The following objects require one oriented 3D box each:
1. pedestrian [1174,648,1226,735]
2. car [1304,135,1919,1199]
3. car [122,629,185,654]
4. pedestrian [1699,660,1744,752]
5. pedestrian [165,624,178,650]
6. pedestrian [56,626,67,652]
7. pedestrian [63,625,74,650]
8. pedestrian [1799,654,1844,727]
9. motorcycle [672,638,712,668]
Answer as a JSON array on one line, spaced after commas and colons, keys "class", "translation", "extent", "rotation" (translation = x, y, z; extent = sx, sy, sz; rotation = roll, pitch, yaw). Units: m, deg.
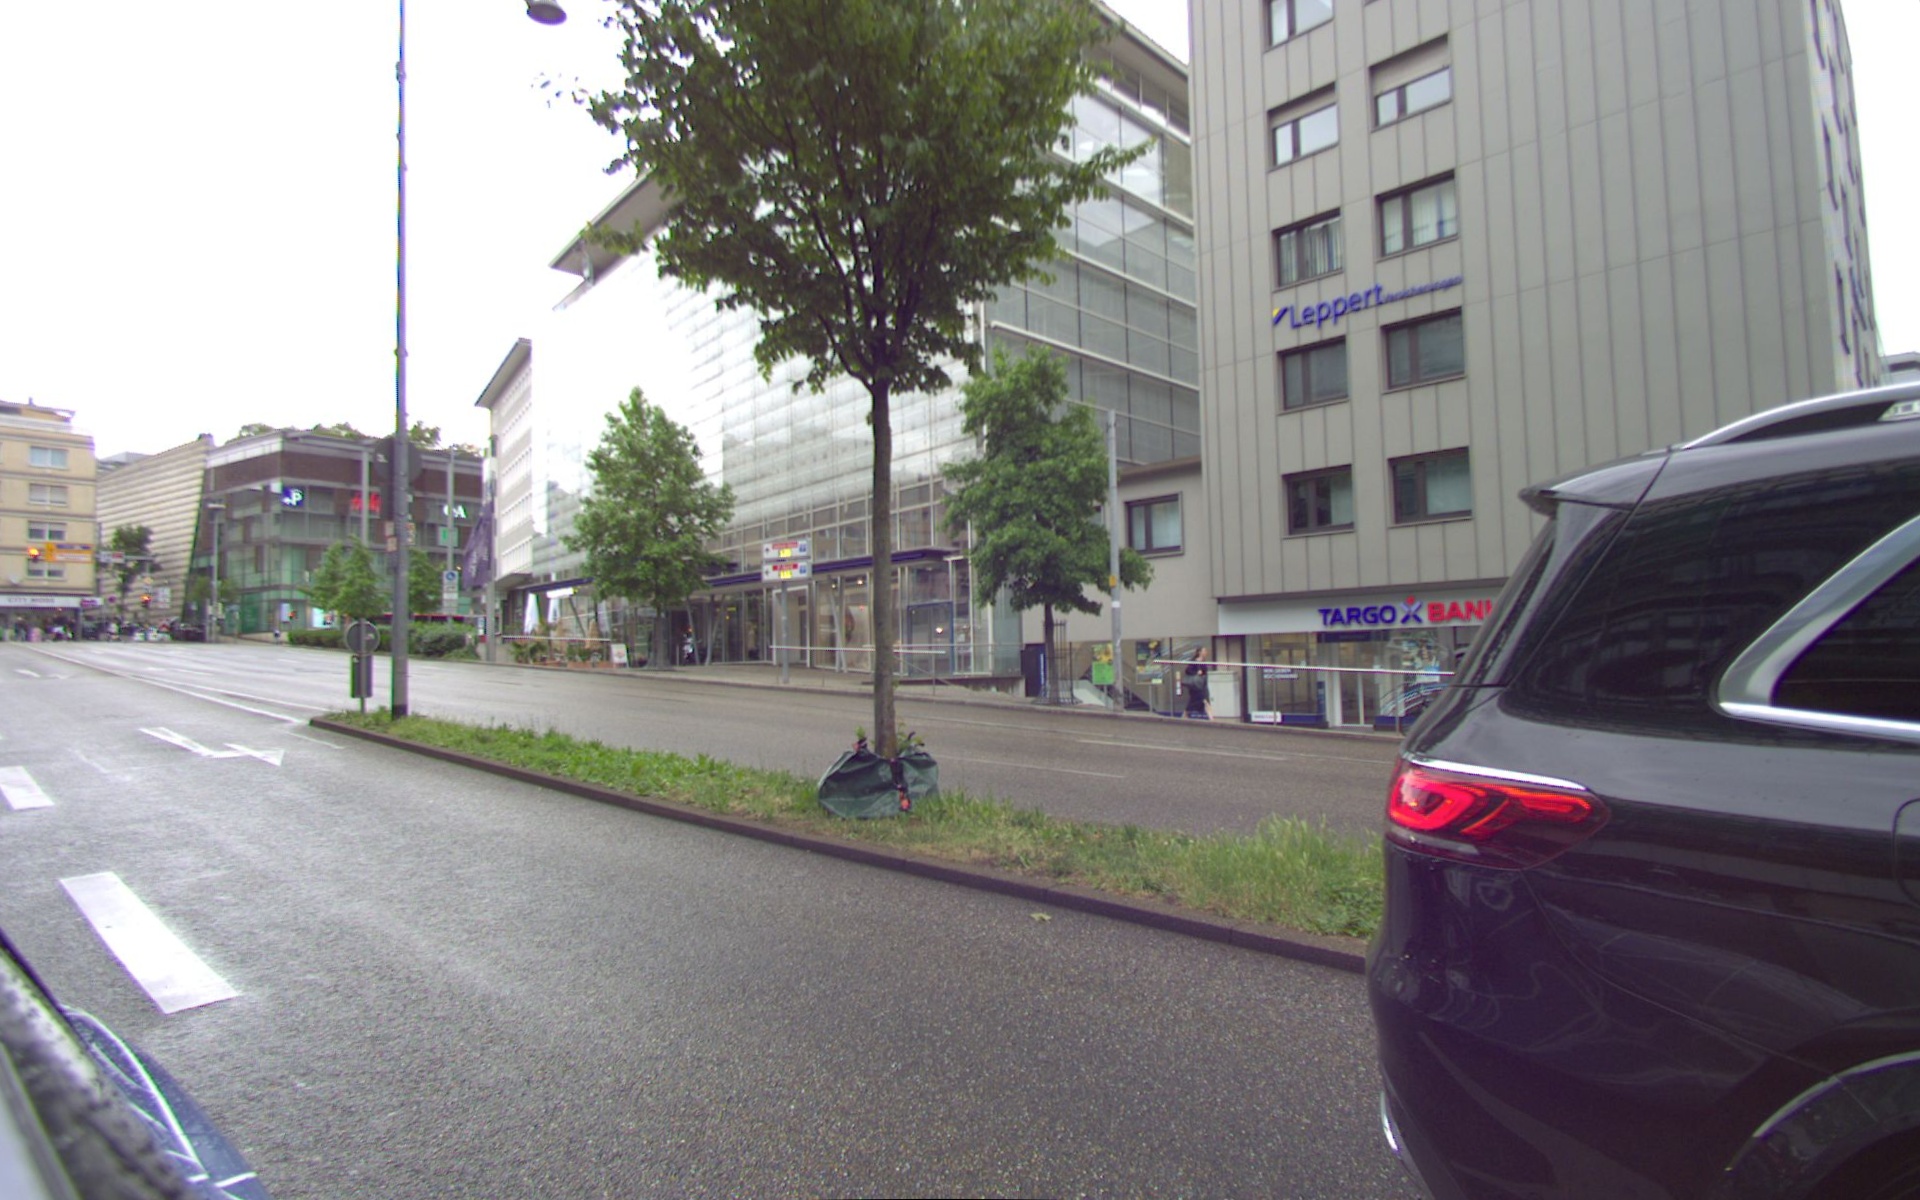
[{"class": "pedestrian", "translation": [4.797, 1.806, 20.242], "extent": [0.626, 1.649, 0.791], "rotation": [0, 0, -41]}, {"class": "car", "translation": [3.115, 0.379, 0.795], "extent": [5.069, 1.884, 1.892], "rotation": [0, 0, 40]}, {"class": "car", "translation": [-67.592, 3.439, 84.921], "extent": [1.968, 2.029, 4.595], "rotation": [1, -2, -8]}, {"class": "pedestrian", "translation": [14.589, 2.006, 19.394], "extent": [0.634, 1.649, 0.781], "rotation": [0, 0, 34]}, {"class": "pedestrian", "translation": [-55.139, 2.557, 70.748], "extent": [0.618, 1.788, 0.689], "rotation": [0, 0, -45]}, {"class": "pedestrian", "translation": [-58.099, 2.514, 65.441], "extent": [0.603, 1.642, 0.422], "rotation": [-1, -3, 45]}, {"class": "pedestrian", "translation": [-59.193, 2.460, 67.182], "extent": [0.602, 1.642, 0.422], "rotation": [-1, -3, 44]}, {"class": "pedestrian", "translation": [20.997, 2.192, 24.683], "extent": [0.724, 1.710, 0.781], "rotation": [0, -3, 34]}, {"class": "motorcycle", "translation": [-12.142, 2.418, 45.935], "extent": [0.620, 1.336, 1.685], "rotation": [-1, -3, 41]}]
